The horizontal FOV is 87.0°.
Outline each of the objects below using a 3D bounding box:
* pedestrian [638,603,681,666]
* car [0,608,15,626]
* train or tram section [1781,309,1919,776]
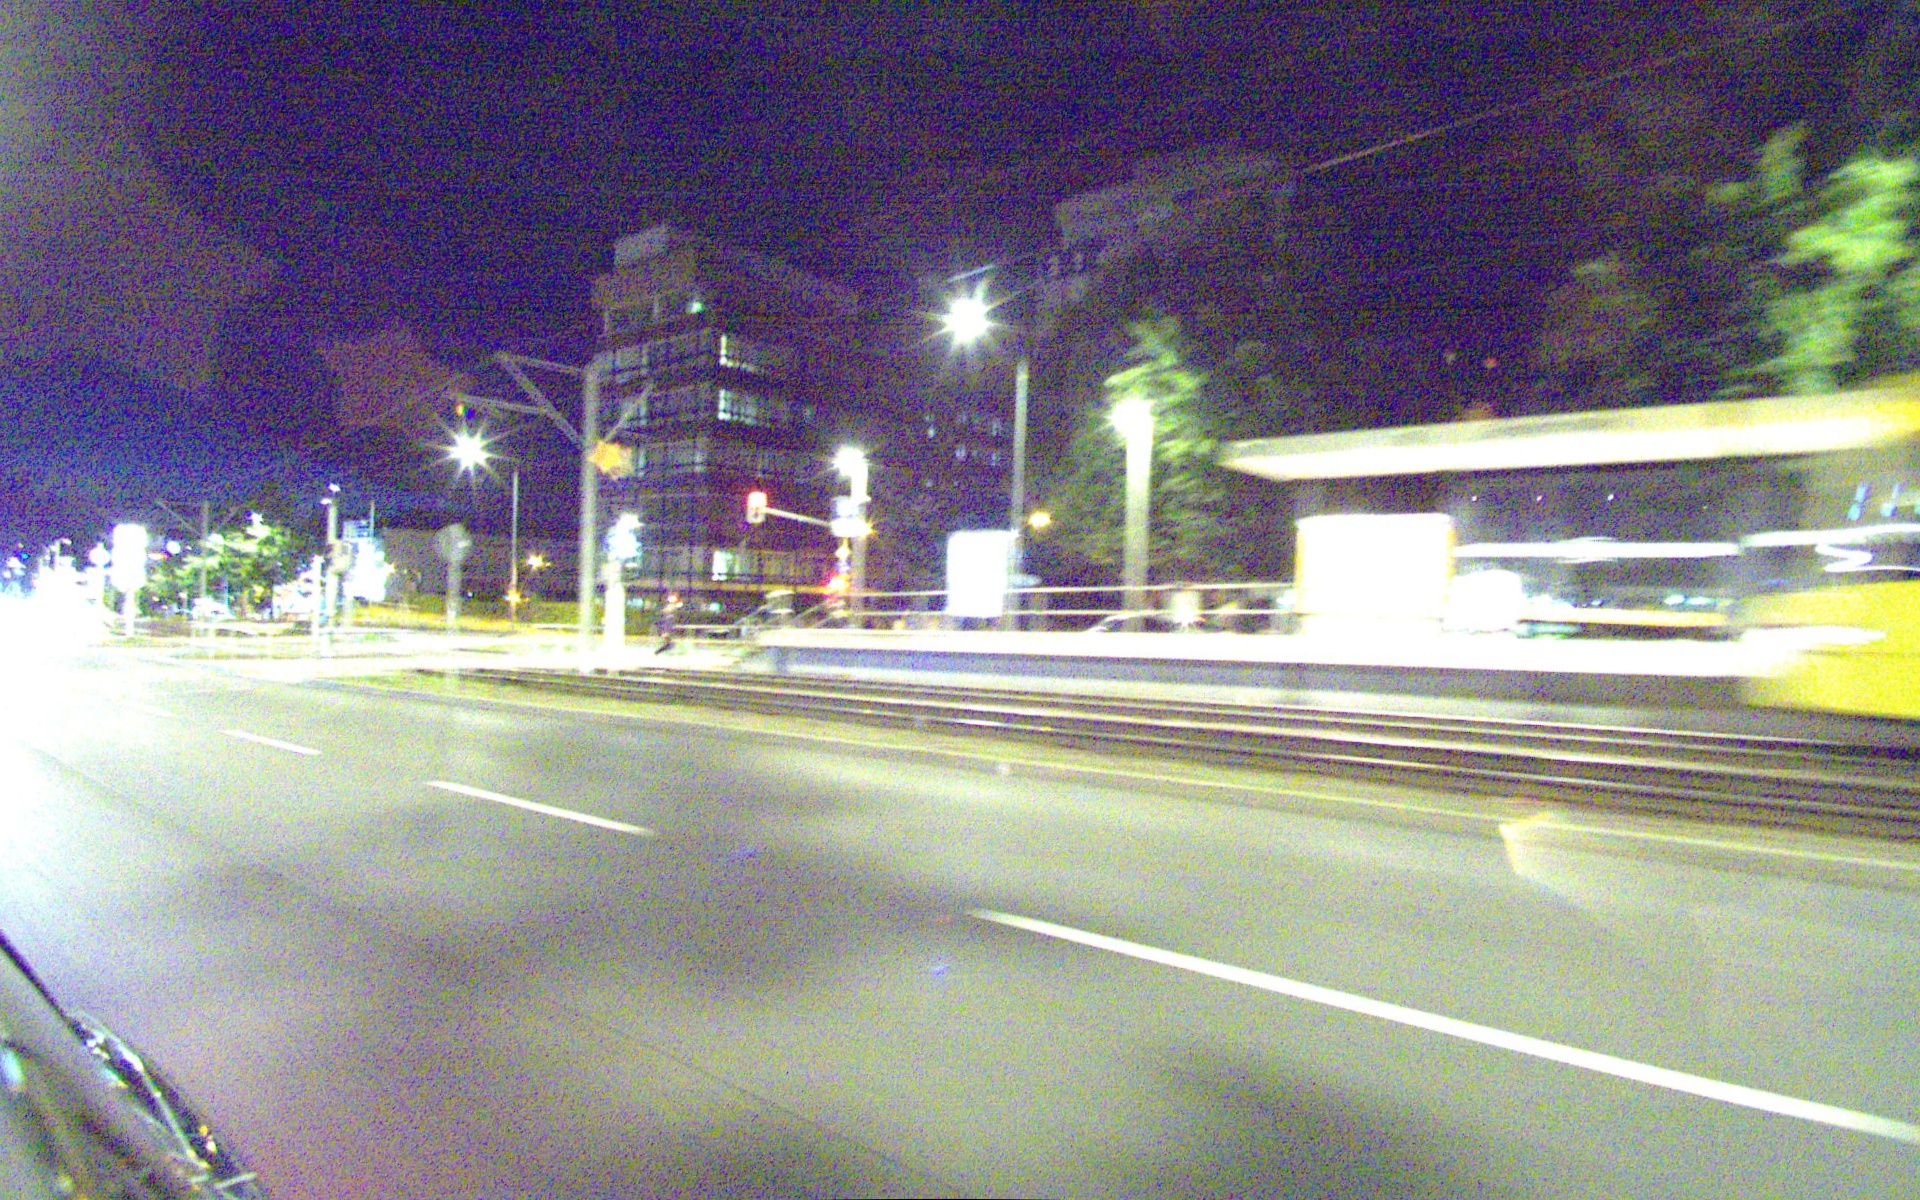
[{"bbox_3d":[-8.315,0.965,28.040,1.038,1.701,0.823,1,-2,-12],"label":"pedestrian"},{"bbox_3d":[-88.453,1.578,93.126,3.719,1.630,1.882,0,-1,43],"label":"car"},{"bbox_3d":[15.282,-0.588,3.345,19.365,3.875,2.708,-1,-1,43],"label":"train or tram section"}]
